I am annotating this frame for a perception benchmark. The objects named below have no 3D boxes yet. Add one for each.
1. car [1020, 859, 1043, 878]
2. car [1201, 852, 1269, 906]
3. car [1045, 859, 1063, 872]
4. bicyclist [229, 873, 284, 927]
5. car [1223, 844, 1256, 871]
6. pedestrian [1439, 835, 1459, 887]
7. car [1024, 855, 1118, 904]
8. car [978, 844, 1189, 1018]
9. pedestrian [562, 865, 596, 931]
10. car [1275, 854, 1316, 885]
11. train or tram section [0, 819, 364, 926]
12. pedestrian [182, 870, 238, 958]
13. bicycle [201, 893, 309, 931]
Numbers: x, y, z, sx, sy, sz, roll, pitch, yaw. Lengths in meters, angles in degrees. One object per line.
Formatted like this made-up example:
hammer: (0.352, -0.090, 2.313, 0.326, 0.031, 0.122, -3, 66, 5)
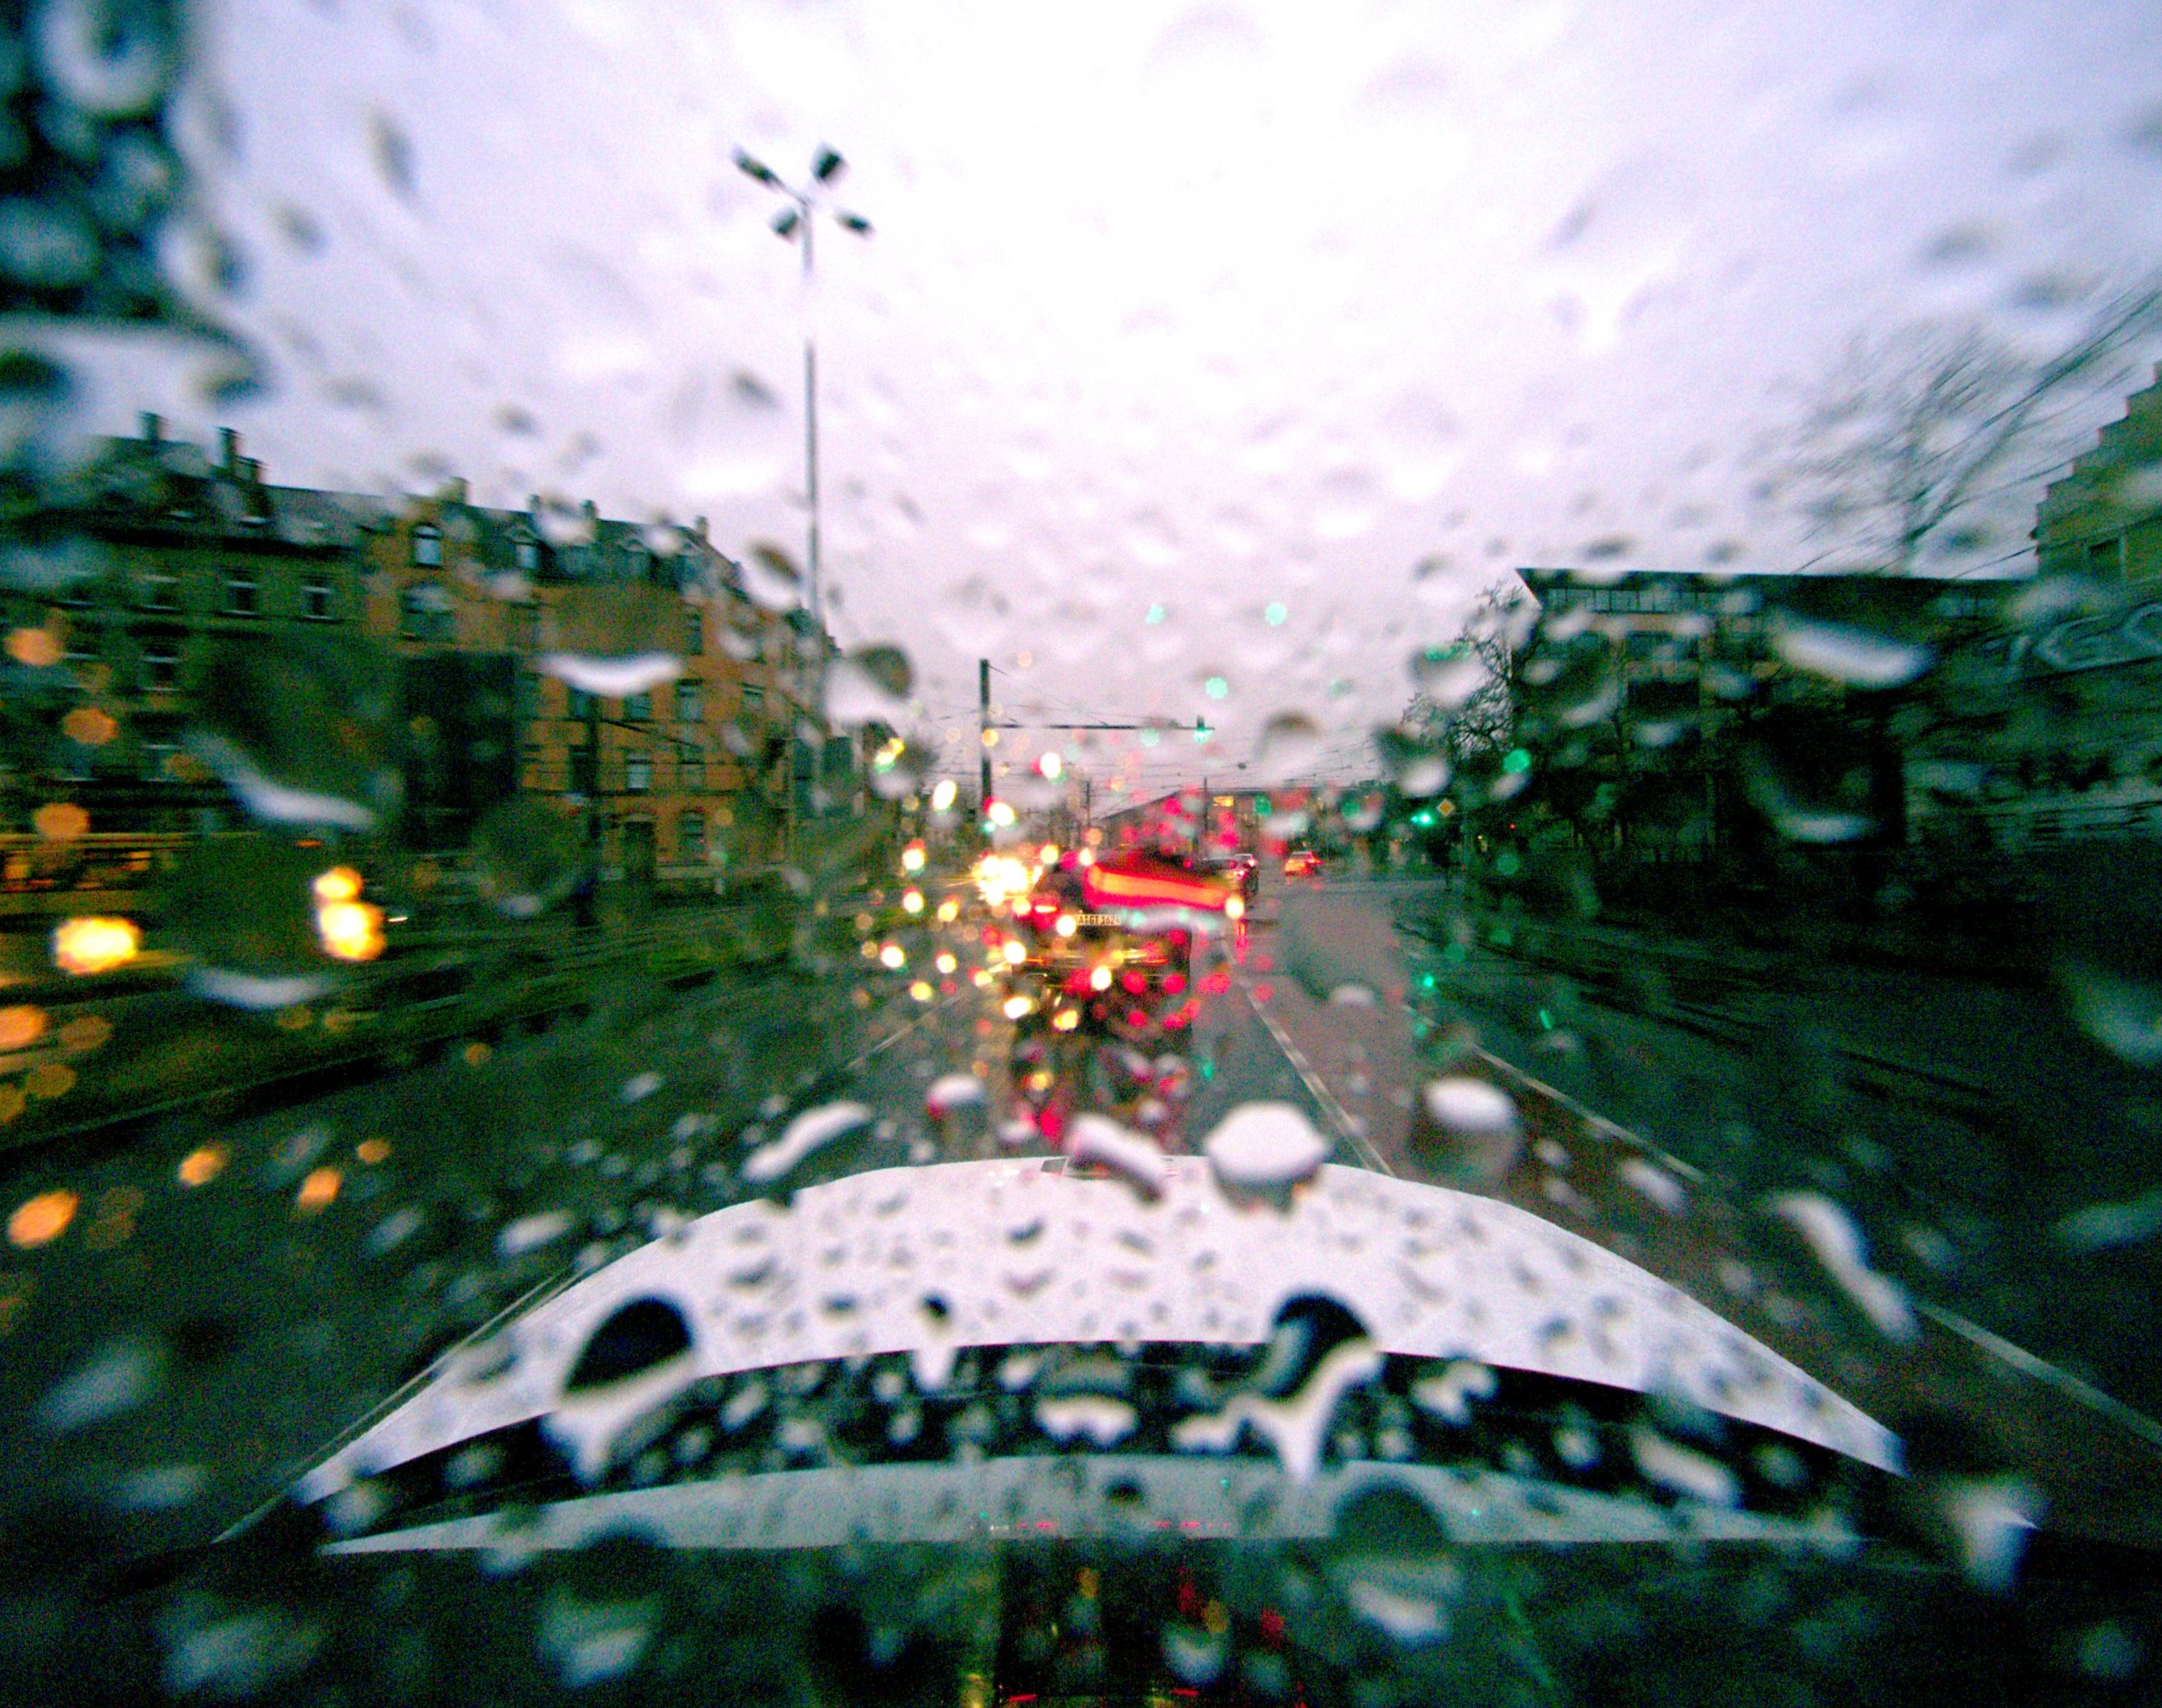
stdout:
car: (-4.216, 1.219, 69.709, 1.675, 1.457, 4.061, -1, 0, -1)
car: (5.630, 0.862, 29.477, 1.978, 1.765, 4.017, -2, 0, 16)
car: (-2.800, 1.149, 83.731, 1.535, 1.245, 4.076, -2, 0, -7)
bicyclist: (-22.379, 1.237, 22.121, 0.973, 1.390, 0.501, -1, 0, -35)
car: (10.952, 0.228, 56.174, 1.979, 1.765, 4.015, -2, 0, 14)
pedestrian: (13.170, 0.242, 29.165, 0.568, 1.838, 0.686, 1, 2, 20)
car: (-0.222, 0.767, 26.223, 1.979, 1.398, 4.016, -2, 0, 15)
car: (0.114, 0.737, 9.825, 1.983, 1.616, 4.003, -2, 0, 2)
pedestrian: (-13.651, 1.187, 22.148, 0.463, 1.772, 0.631, -1, -1, 14)
car: (13.341, 0.957, 50.599, 1.976, 1.765, 4.021, -2, 0, 21)
train or tram section: (-33.261, 0.554, 25.522, 16.293, 3.188, 3.151, 0, 0, -17)
pedestrian: (-18.285, 1.248, 17.109, 0.628, 1.792, 0.529, 0, 0, -20)
bicycle: (-22.380, 1.546, 22.117, 1.993, 0.900, 0.501, -1, 0, -35)
